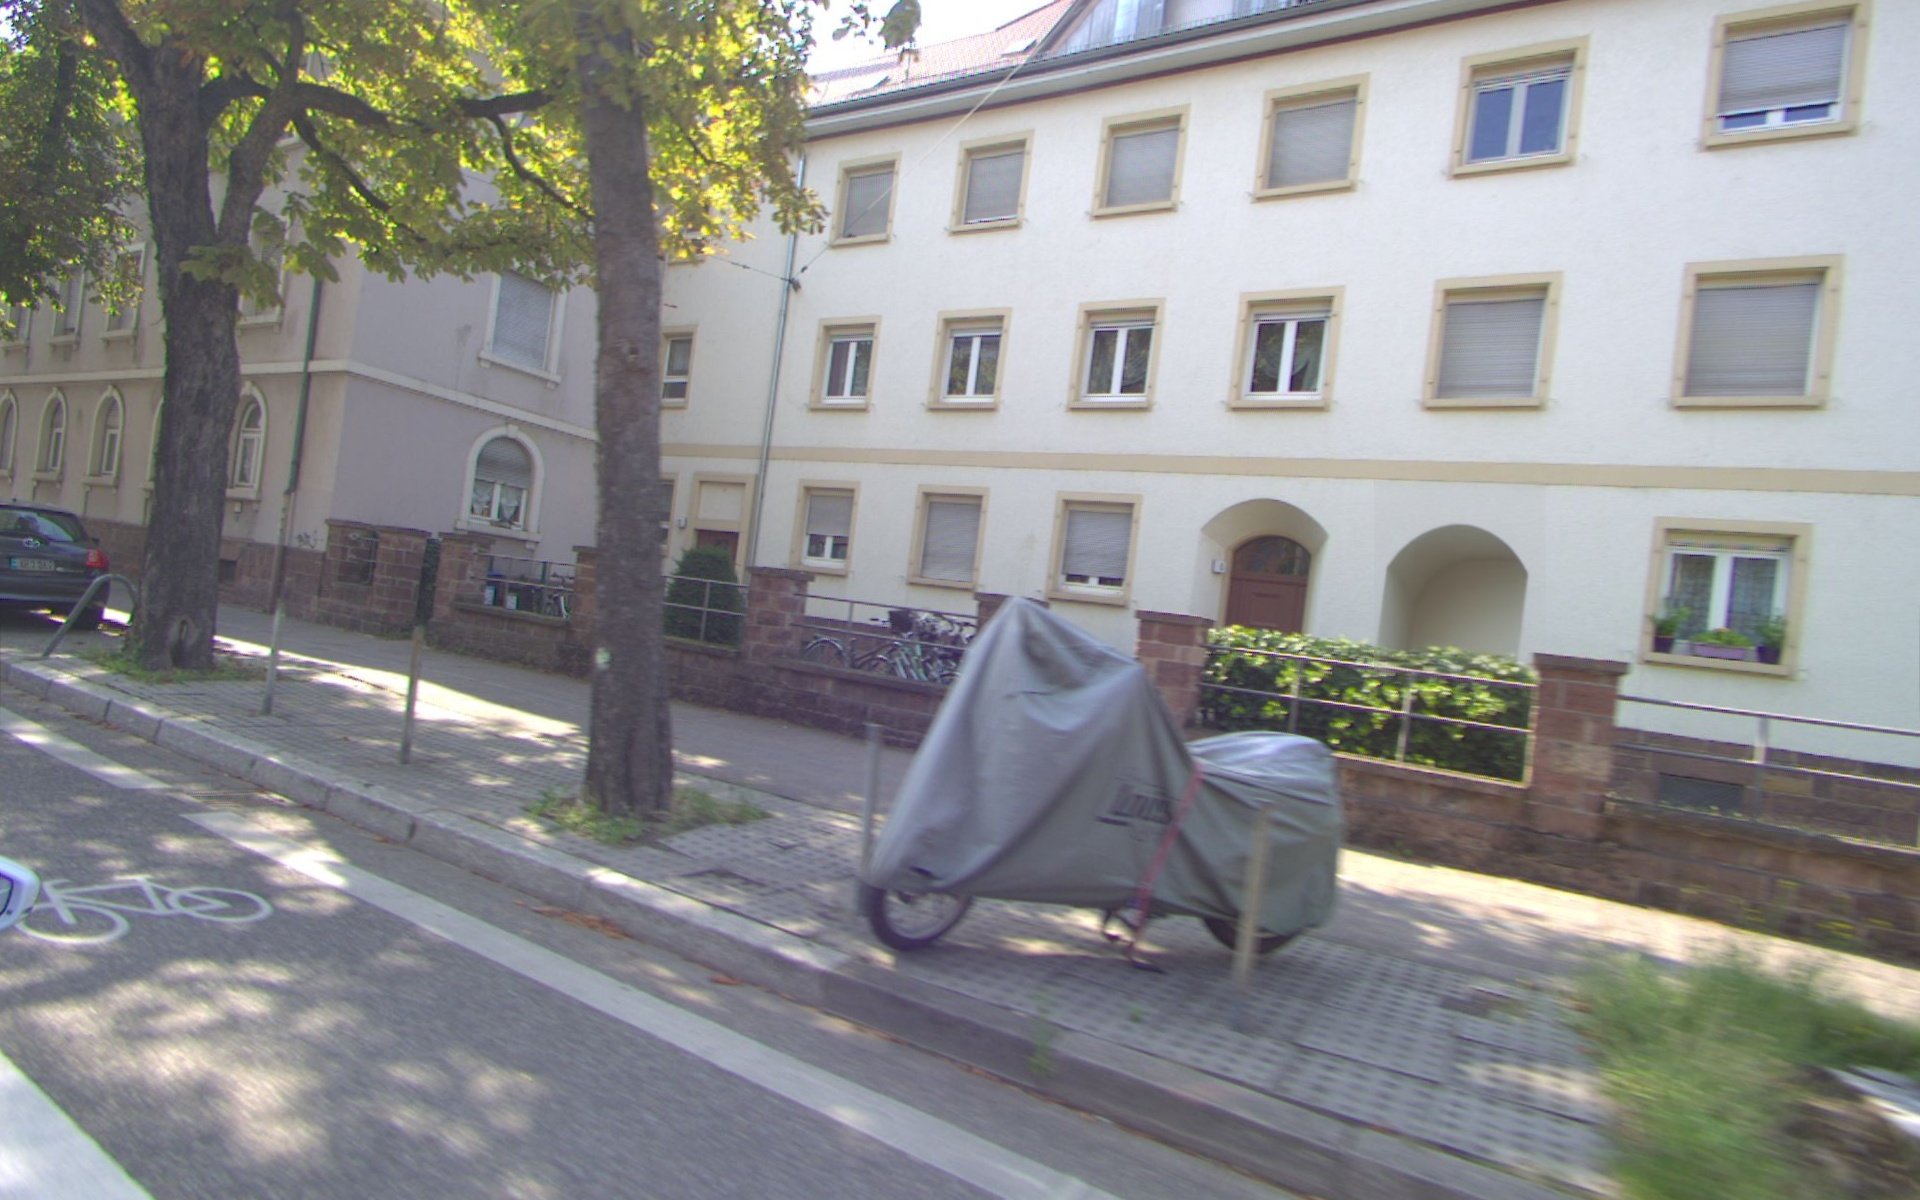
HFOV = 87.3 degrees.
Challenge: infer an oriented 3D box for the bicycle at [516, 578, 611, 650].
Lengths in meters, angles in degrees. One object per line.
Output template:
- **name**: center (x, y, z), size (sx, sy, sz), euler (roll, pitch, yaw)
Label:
- **bicycle**: center (-7.371, 0.251, 18.656), size (1.842, 1.117, 0.538), euler (7, 0, 32)

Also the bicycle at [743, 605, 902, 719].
- **bicycle**: center (-1.692, 0.736, 12.258), size (1.841, 1.117, 0.539), euler (7, 0, 29)

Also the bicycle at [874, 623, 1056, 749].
- **bicycle**: center (0.030, 0.943, 11.359), size (1.965, 1.117, 0.425), euler (7, 0, 29)

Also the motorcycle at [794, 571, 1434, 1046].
- **motorcycle**: center (0.606, 0.865, 4.307), size (2.382, 1.695, 0.910), euler (6, 1, -15)

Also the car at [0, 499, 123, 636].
- **car**: center (-12.466, -0.542, 12.652), size (3.918, 1.523, 1.728), euler (6, 0, 31)

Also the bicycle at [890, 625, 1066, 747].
- **bicycle**: center (0.185, 0.978, 11.747), size (1.965, 1.117, 0.425), euler (7, 0, 29)

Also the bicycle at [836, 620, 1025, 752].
- **bicycle**: center (-0.347, 0.893, 10.817), size (1.965, 1.117, 0.424), euler (7, 0, 29)

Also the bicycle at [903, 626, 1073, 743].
- **bicycle**: center (0.310, 0.995, 12.172), size (1.965, 1.117, 0.425), euler (7, 0, 29)

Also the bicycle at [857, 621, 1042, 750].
- **bicycle**: center (-0.145, 0.917, 11.113), size (1.965, 1.117, 0.425), euler (7, 0, 29)
